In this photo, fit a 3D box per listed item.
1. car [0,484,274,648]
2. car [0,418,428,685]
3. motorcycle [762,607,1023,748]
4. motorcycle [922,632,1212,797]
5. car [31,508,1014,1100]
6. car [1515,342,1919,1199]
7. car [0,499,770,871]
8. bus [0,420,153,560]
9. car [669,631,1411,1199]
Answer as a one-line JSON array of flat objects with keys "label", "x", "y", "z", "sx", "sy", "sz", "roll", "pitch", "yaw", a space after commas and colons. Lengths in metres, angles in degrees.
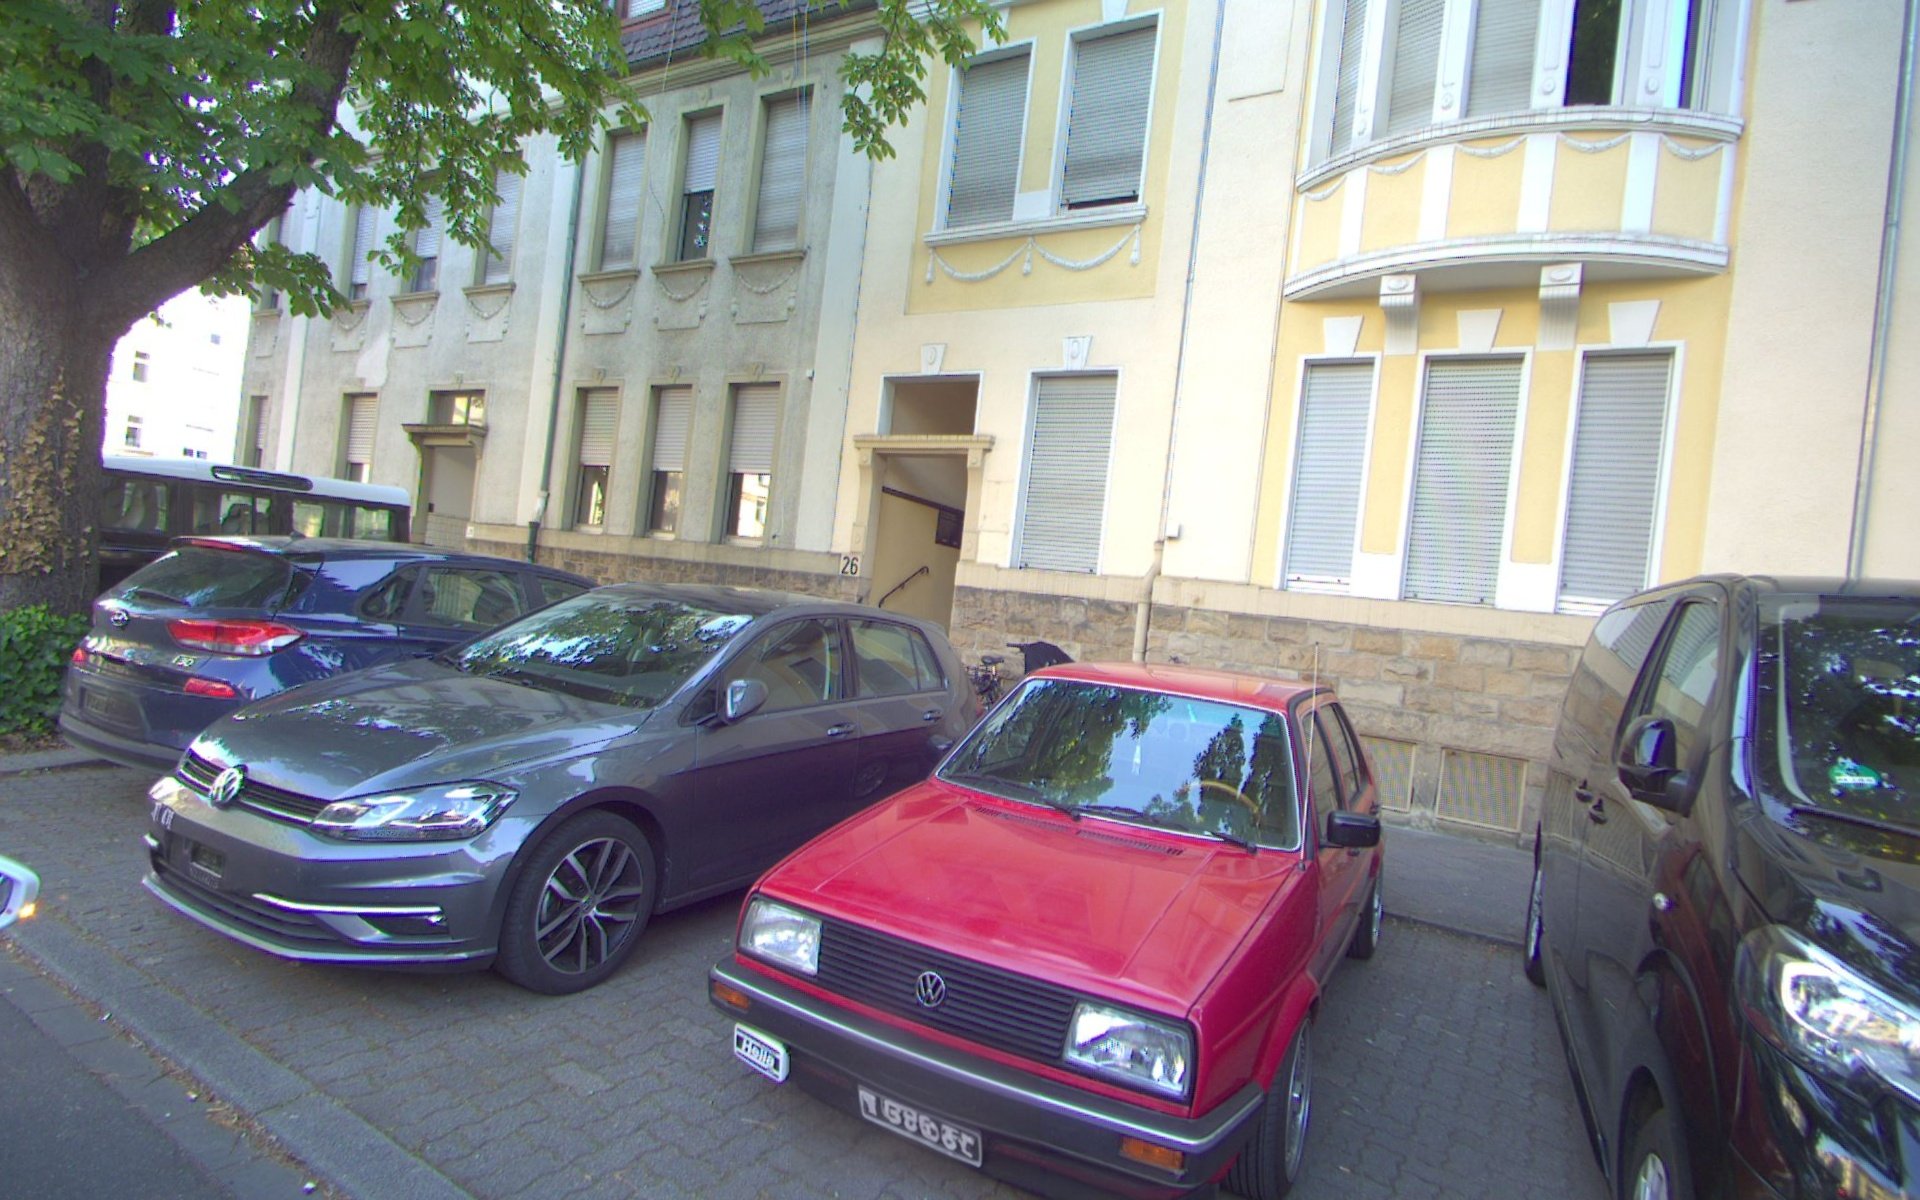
[{"label": "car", "x": -9.980, "y": -0.391, "z": 10.941, "sx": 1.679, "sy": 1.589, "sz": 3.730, "roll": 6, "pitch": 0, "yaw": 28}, {"label": "car", "x": -7.585, "y": -0.374, "z": 9.240, "sx": 1.671, "sy": 2.061, "sz": 4.473, "roll": 6, "pitch": 0, "yaw": 28}, {"label": "motorcycle", "x": -0.783, "y": 0.771, "z": 10.788, "sx": 2.822, "sy": 1.087, "sz": 0.694, "roll": 7, "pitch": 2, "yaw": 31}, {"label": "motorcycle", "x": 0.963, "y": 0.992, "z": 9.399, "sx": 2.439, "sy": 1.087, "sz": 0.959, "roll": 7, "pitch": 2, "yaw": 32}, {"label": "car", "x": -1.425, "y": 0.618, "z": 4.820, "sx": 1.693, "sy": 1.470, "sz": 4.060, "roll": 6, "pitch": 0, "yaw": 28}, {"label": "car", "x": 2.859, "y": 0.867, "z": 2.881, "sx": 1.864, "sy": 1.898, "sz": 4.759, "roll": 6, "pitch": 0, "yaw": 27}, {"label": "car", "x": -3.079, "y": 0.421, "z": 6.203, "sx": 1.679, "sy": 1.470, "sz": 3.730, "roll": 6, "pitch": 0, "yaw": 28}, {"label": "bus", "x": -26.737, "y": -3.257, "z": 24.679, "sx": 2.859, "sy": 3.240, "sz": 10.482, "roll": 7, "pitch": -1, "yaw": 24}, {"label": "car", "x": 0.882, "y": 0.942, "z": 4.308, "sx": 1.601, "sy": 1.332, "sz": 4.144, "roll": 6, "pitch": 0, "yaw": 27}]
